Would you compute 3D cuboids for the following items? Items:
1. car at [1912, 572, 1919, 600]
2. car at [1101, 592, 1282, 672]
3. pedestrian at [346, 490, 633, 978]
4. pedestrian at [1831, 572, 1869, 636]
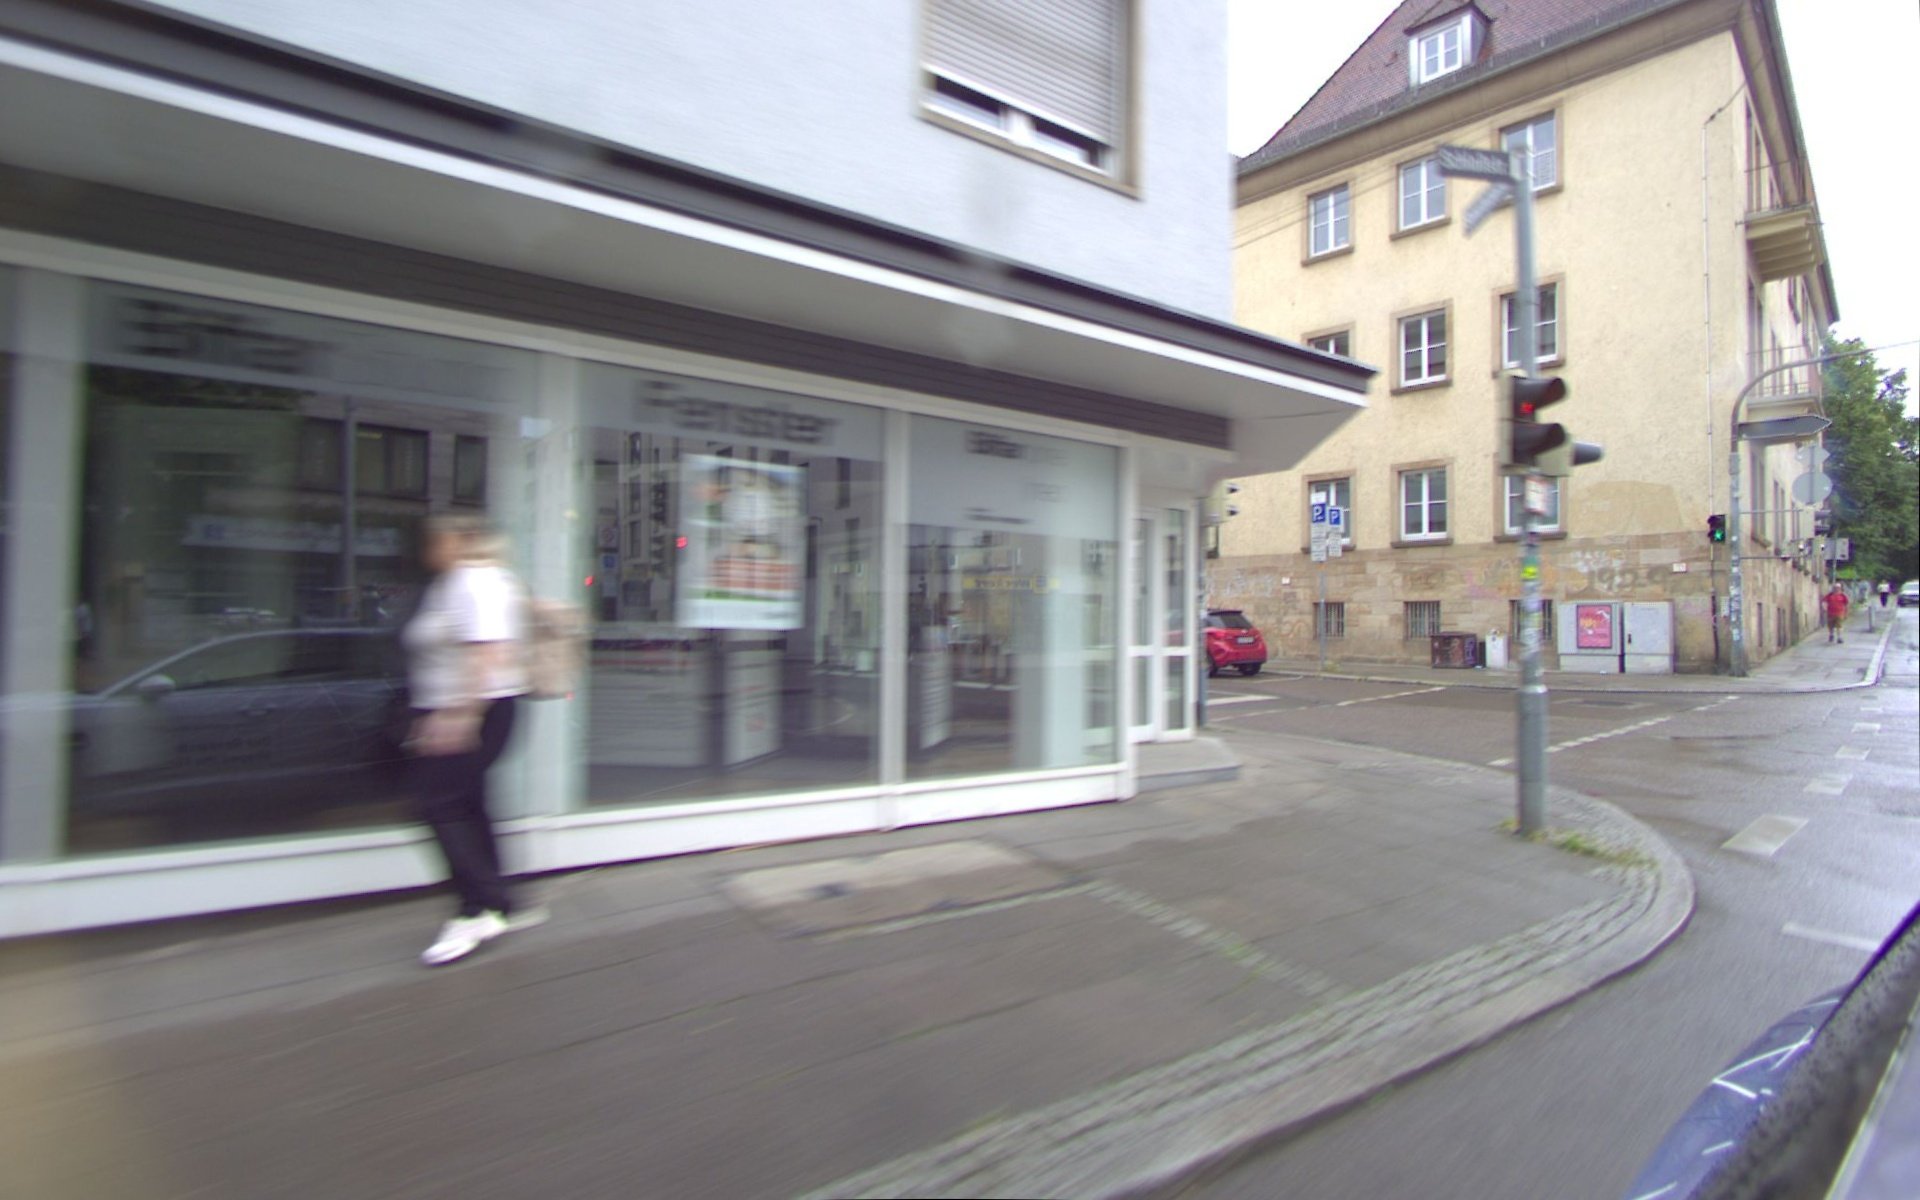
[{"bbox_3d":[63.015,-0.999,65.611,1.720,1.707,3.808,-5,-1,43],"label":"car"},{"bbox_3d":[5.149,0.651,22.965,1.732,1.537,3.863,-3,2,-33],"label":"car"},{"bbox_3d":[-1.770,0.436,3.822,0.688,1.592,0.751,1,-1,43],"label":"pedestrian"},{"bbox_3d":[26.061,0.100,29.638,0.747,1.785,0.806,3,3,43],"label":"pedestrian"}]
